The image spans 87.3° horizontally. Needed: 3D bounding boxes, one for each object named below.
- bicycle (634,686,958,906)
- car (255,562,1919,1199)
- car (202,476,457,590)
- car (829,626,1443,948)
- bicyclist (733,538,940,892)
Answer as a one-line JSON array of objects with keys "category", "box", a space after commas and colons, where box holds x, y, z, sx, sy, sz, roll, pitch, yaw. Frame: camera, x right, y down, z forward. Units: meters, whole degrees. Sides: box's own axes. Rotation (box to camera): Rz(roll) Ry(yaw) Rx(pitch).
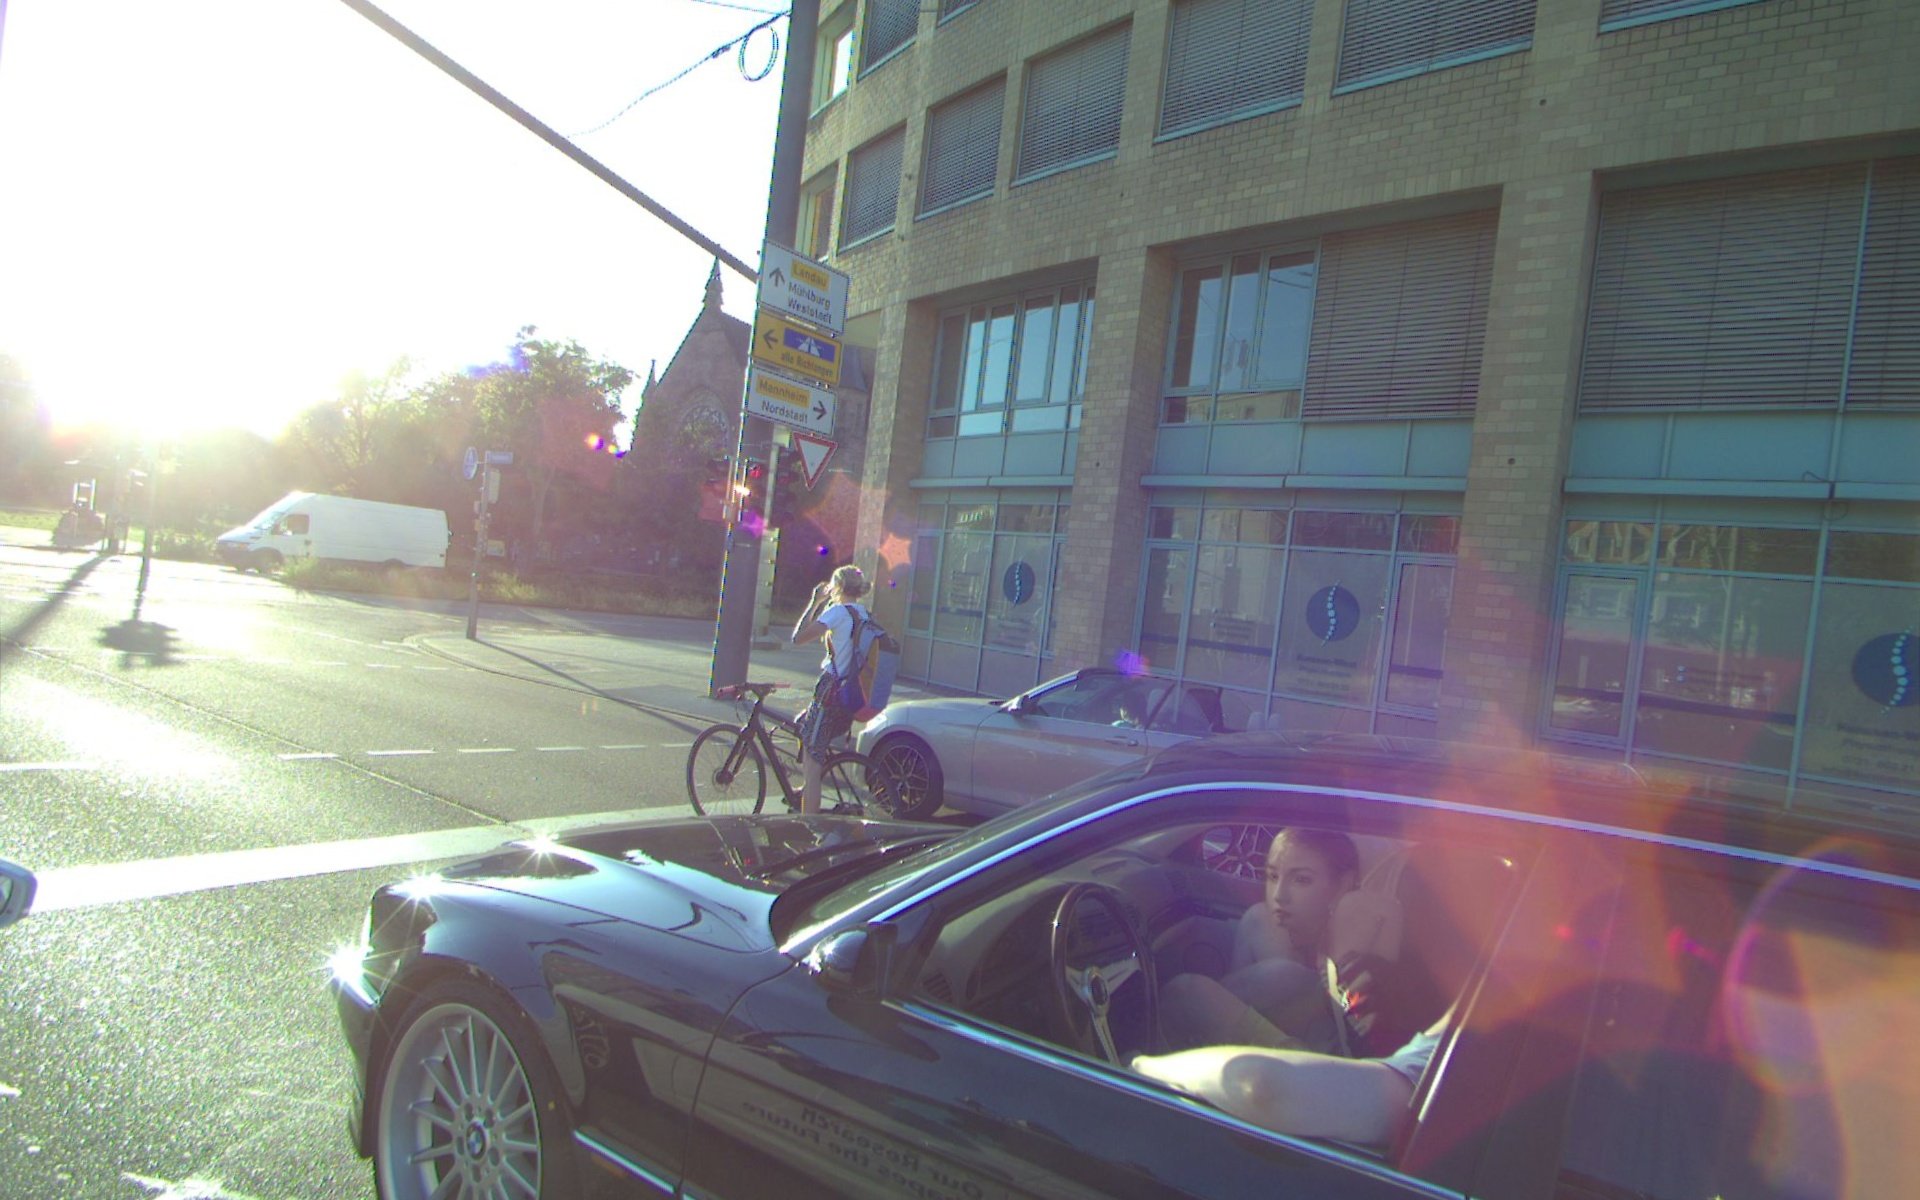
[{"category": "bicycle", "box": [-1.008, 1.084, 5.974, 1.838, 0.884, 0.634, 7, 0, 30]}, {"category": "car", "box": [0.887, 0.932, 2.008, 4.661, 1.402, 1.997, 7, -1, 32]}, {"category": "car", "box": [-21.301, -2.149, 34.456, 2.059, 2.862, 7.017, 7, 0, 33]}, {"category": "car", "box": [1.243, 1.195, 7.684, 4.157, 1.401, 1.747, 7, -1, 31]}, {"category": "bicyclist", "box": [-0.710, 0.625, 5.827, 0.764, 1.843, 0.634, 7, 1, 30]}]
